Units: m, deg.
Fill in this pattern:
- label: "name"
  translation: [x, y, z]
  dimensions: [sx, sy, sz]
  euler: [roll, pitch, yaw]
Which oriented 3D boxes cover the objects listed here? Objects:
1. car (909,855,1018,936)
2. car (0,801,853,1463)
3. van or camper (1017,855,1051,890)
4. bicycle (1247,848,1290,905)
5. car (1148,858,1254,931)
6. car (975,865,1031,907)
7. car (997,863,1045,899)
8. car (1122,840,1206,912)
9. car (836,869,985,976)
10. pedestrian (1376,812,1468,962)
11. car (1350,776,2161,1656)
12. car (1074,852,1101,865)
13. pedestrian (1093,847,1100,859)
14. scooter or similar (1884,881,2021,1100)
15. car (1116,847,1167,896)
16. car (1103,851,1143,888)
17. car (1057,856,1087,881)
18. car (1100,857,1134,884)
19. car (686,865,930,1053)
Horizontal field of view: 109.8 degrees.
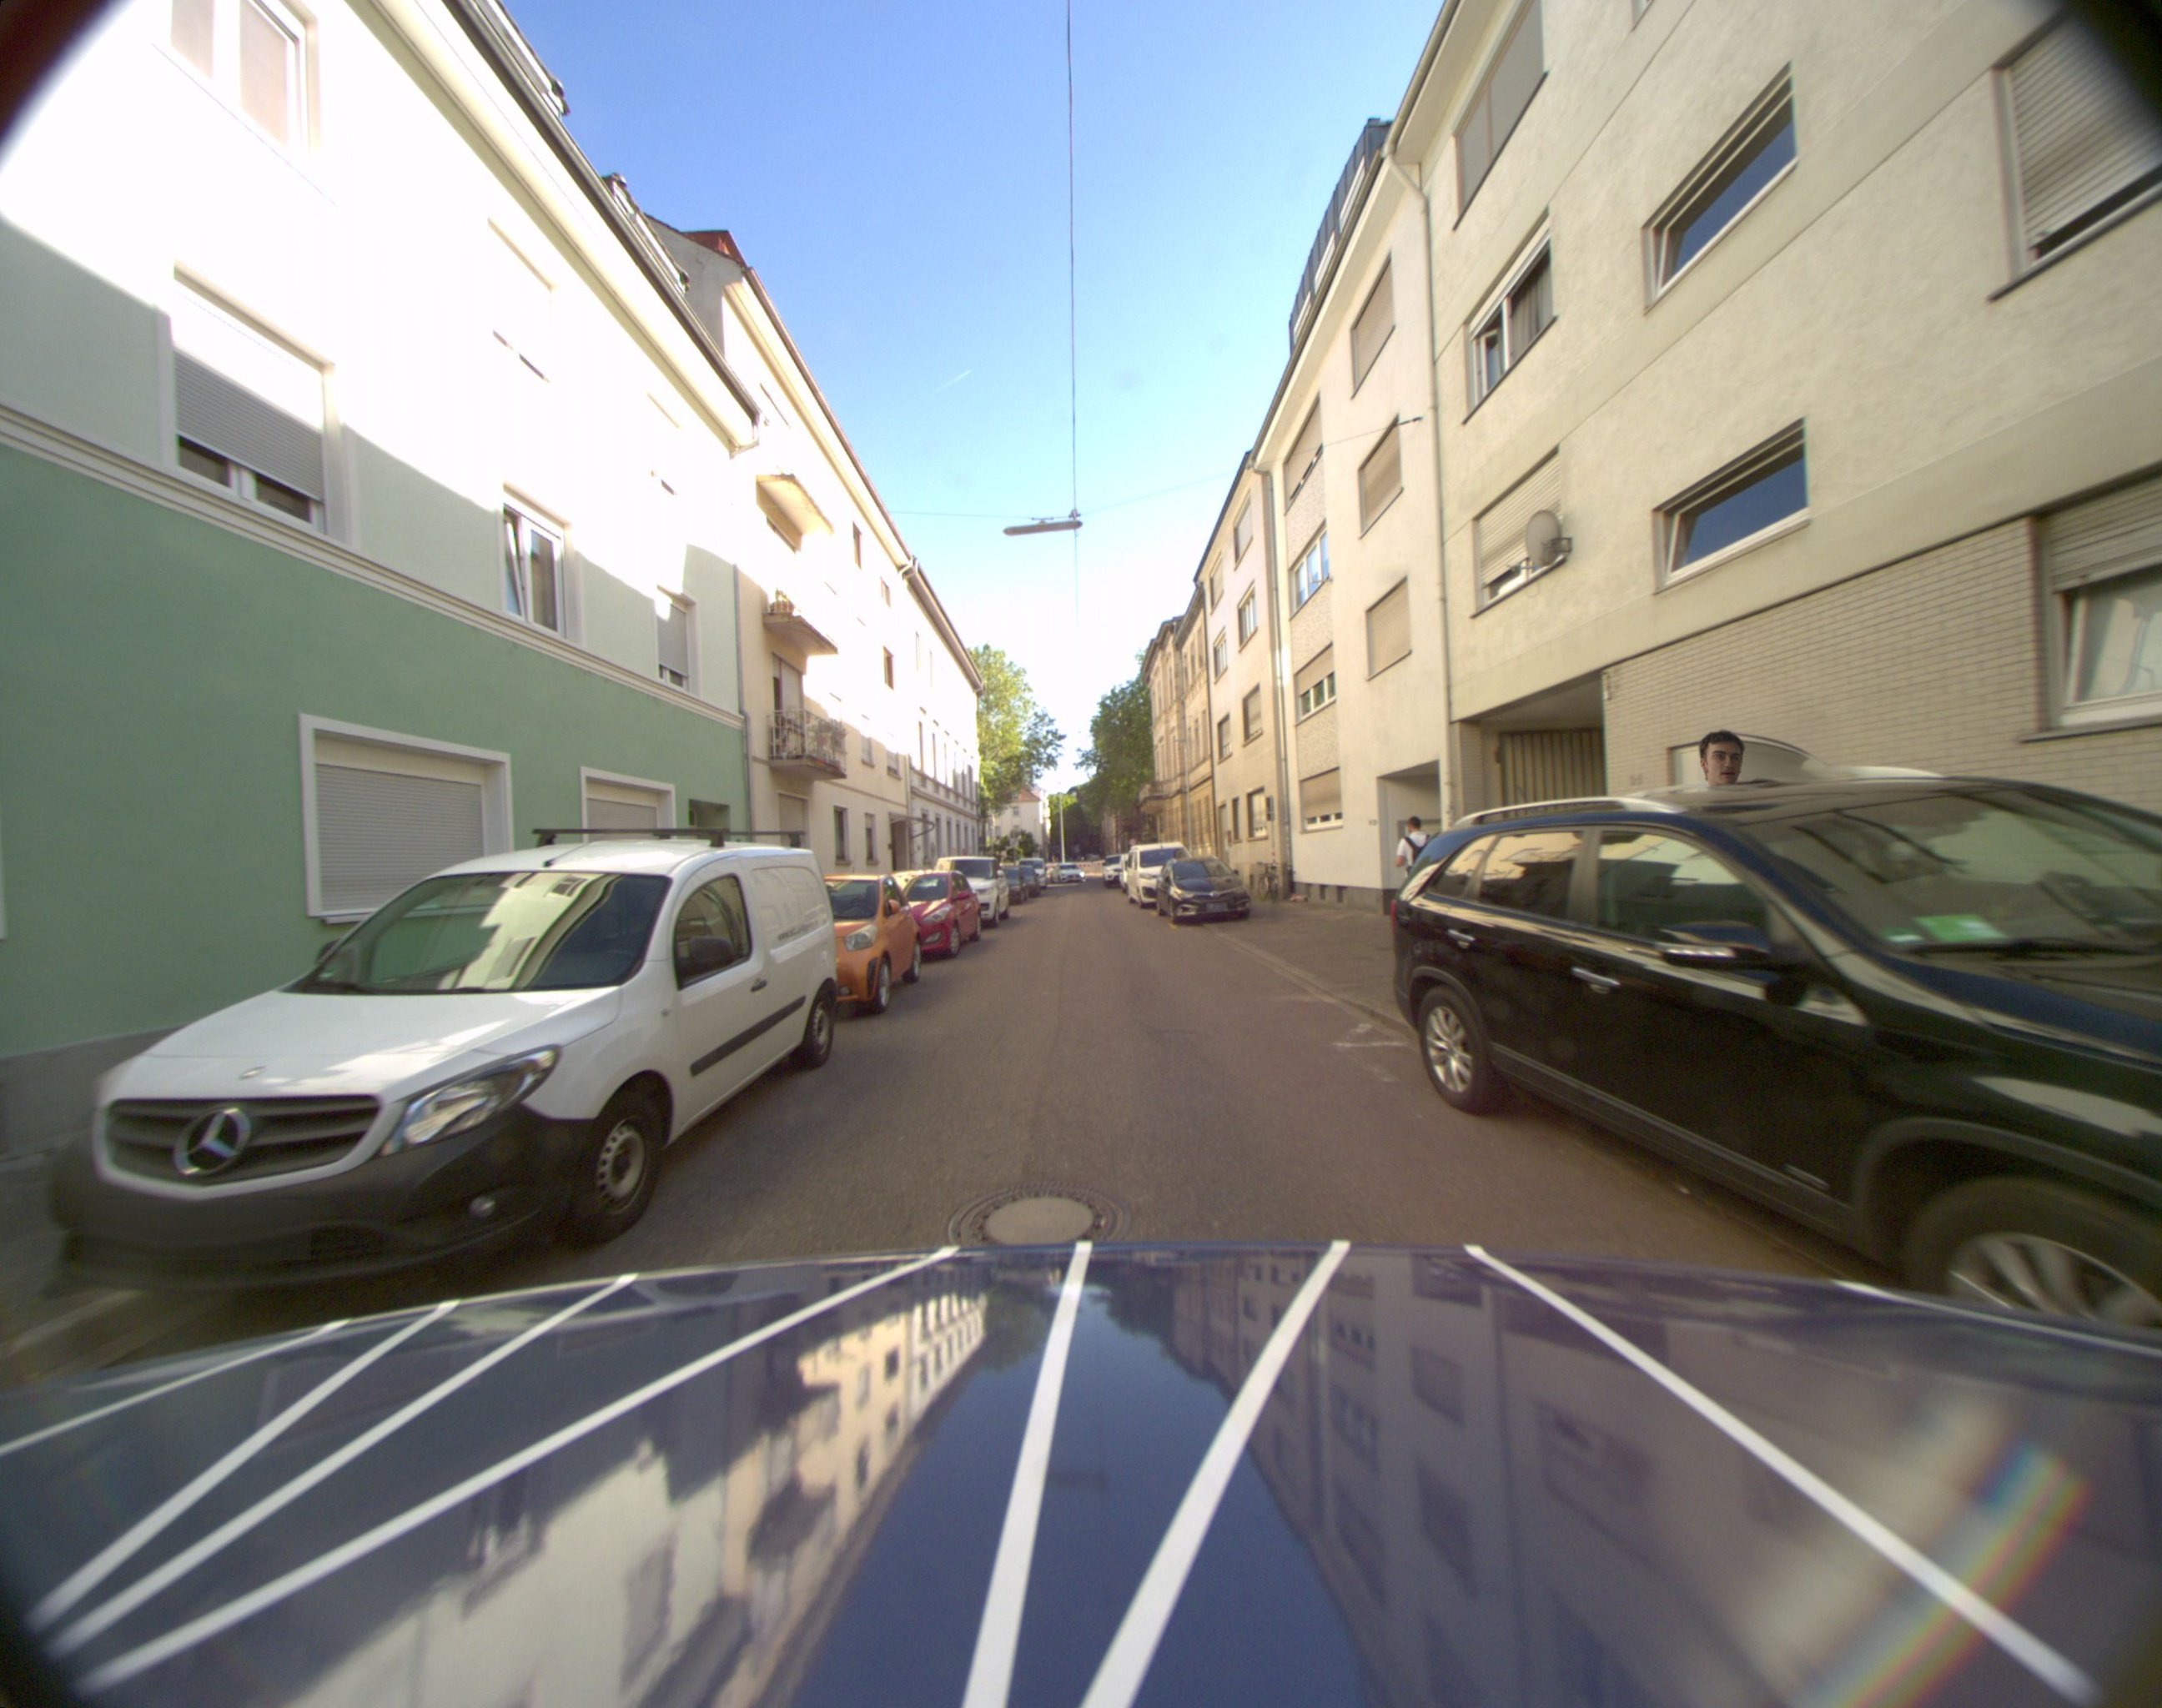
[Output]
- label: "car"
  translation: [-2.900, 0.976, 19.882]
  dimensions: [2.010, 1.773, 4.939]
  euler: [-2, -1, 0]
- label: "car"
  translation: [-2.898, 0.846, 4.465]
  dimensions: [1.786, 1.950, 4.335]
  euler: [-2, 0, -1]
- label: "van or camper"
  translation: [-2.912, 1.117, 47.728]
  dimensions: [1.899, 2.001, 5.031]
  euler: [-2, -1, -2]
- label: "bicycle"
  translation: [5.224, 0.612, 21.258]
  dimensions: [0.558, 1.500, 1.800]
  euler: [-4, 0, -3]
- label: "car"
  translation: [2.745, 0.866, 18.283]
  dimensions: [1.711, 1.442, 4.301]
  euler: [-3, 0, -1]
- label: "car"
  translation: [-3.040, 1.221, 30.387]
  dimensions: [1.751, 1.440, 3.870]
  euler: [-4, -1, 0]
- label: "car"
  translation: [-2.800, 1.235, 36.242]
  dimensions: [1.819, 1.510, 4.728]
  euler: [-4, -1, 0]
- label: "car"
  translation: [2.524, 0.671, 24.351]
  dimensions: [1.899, 1.946, 4.781]
  euler: [-4, -1, -2]
- label: "car"
  translation: [-2.879, 1.093, 13.729]
  dimensions: [1.746, 1.559, 4.032]
  euler: [-2, -1, 0]
- label: "pedestrian"
  translation: [4.645, 0.438, 10.391]
  dimensions: [0.808, 1.923, 0.691]
  euler: [-5, 0, 0]
- label: "car"
  translation: [2.965, 0.686, 2.917]
  dimensions: [1.885, 1.745, 4.542]
  euler: [-6, 0, -3]
- label: "car"
  translation: [0.954, 0.651, 113.199]
  dimensions: [3.801, 1.726, 1.623]
  euler: [-2, 0, -1]
- label: "pedestrian"
  translation: [2.214, -0.129, 108.575]
  dimensions: [0.761, 1.651, 0.826]
  euler: [-2, 0, -28]
- label: "scooter or similar"
  translation: [5.895, 0.845, 5.185]
  dimensions: [0.437, 1.270, 1.236]
  euler: [-1, 0, 41]
- label: "car"
  translation: [2.620, 0.758, 33.763]
  dimensions: [1.749, 1.865, 4.090]
  euler: [-6, -1, 0]
- label: "car"
  translation: [2.380, 0.875, 44.439]
  dimensions: [2.027, 2.002, 4.543]
  euler: [-2, 0, 0]
- label: "car"
  translation: [-0.608, 1.066, 55.480]
  dimensions: [2.010, 1.693, 4.503]
  euler: [-2, -1, 0]
- label: "car"
  translation: [2.369, 1.074, 50.967]
  dimensions: [1.872, 1.552, 3.941]
  euler: [-4, 1, -2]
- label: "car"
  translation: [-2.926, 1.011, 8.982]
  dimensions: [1.584, 1.622, 3.681]
  euler: [-4, 0, -2]
